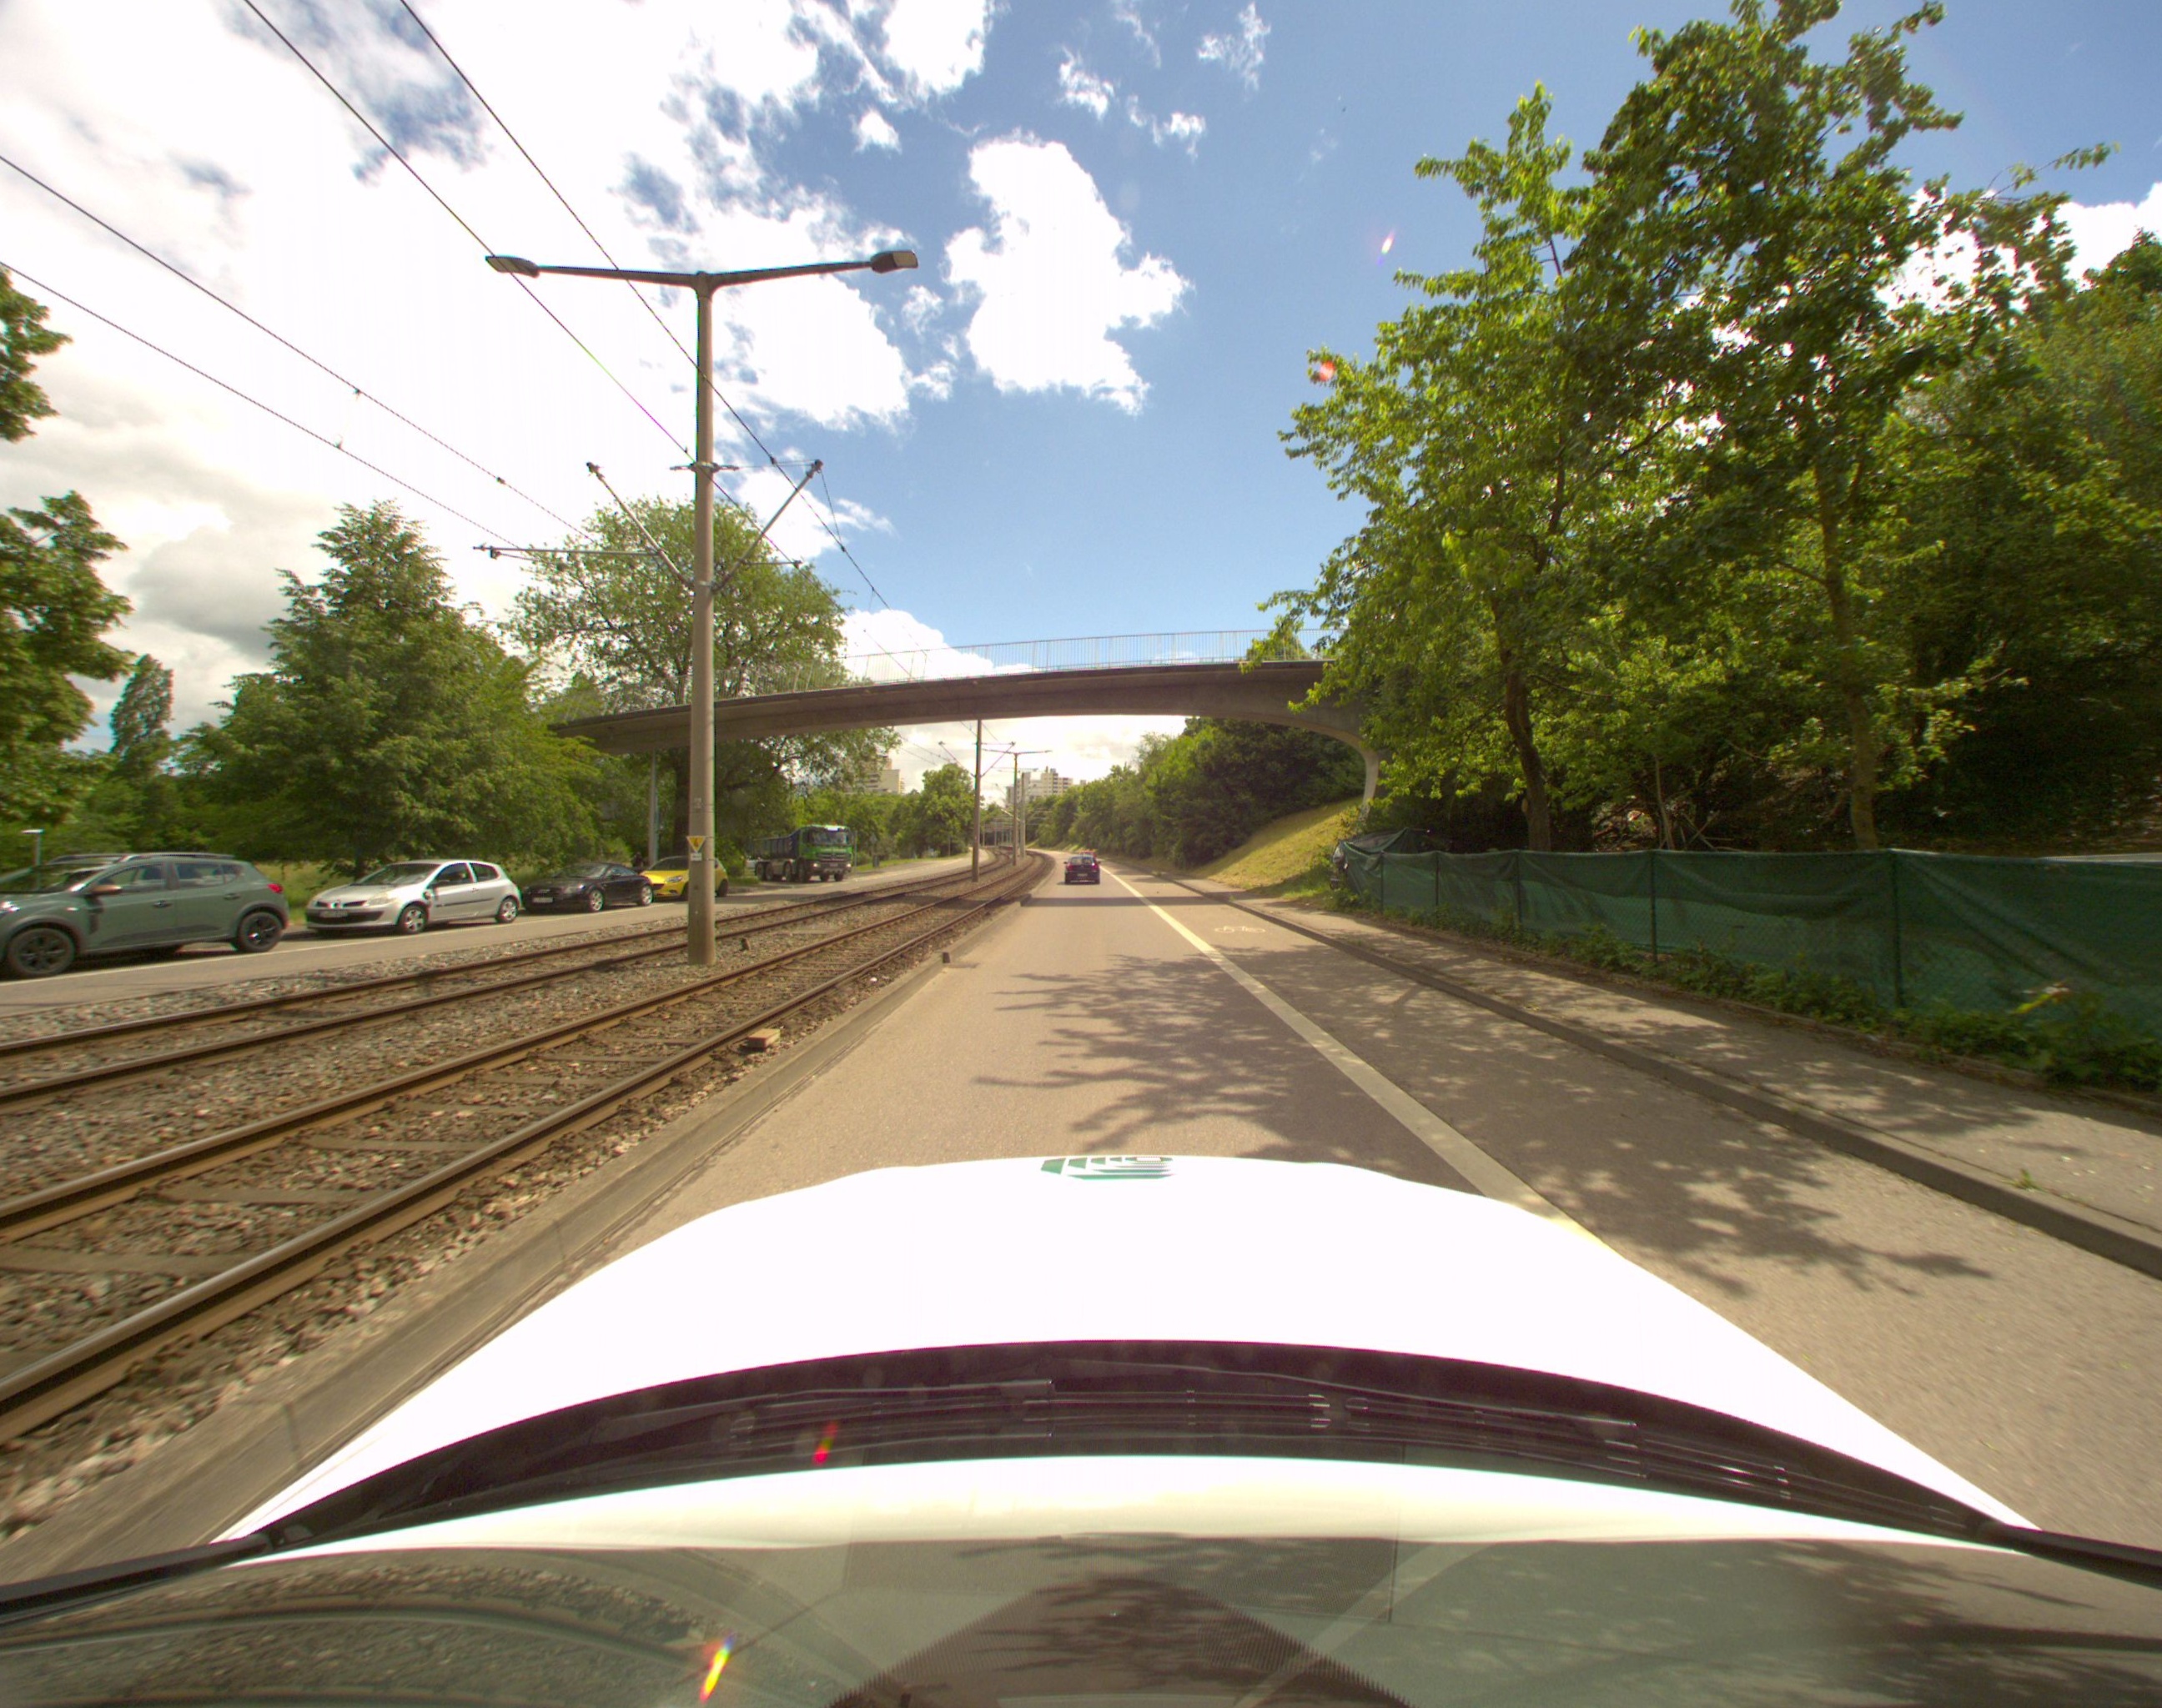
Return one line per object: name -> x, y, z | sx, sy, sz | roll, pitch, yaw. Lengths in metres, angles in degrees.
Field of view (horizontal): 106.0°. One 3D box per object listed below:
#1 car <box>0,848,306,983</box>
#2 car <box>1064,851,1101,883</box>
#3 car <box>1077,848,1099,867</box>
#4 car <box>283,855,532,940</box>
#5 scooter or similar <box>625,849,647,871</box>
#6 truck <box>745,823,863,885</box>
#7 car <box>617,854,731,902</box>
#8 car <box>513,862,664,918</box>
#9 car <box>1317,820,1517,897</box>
car -> -13.754, 0.757, 11.452 | 1.636, 1.622, 4.127 | -1, 0, 2
car -> 0.070, 0.640, 40.808 | 1.703, 1.460, 3.959 | 2, 0, 0
car -> 0.604, 0.320, 70.440 | 1.617, 1.443, 3.424 | 2, -1, 4
car -> -13.622, 0.827, 16.873 | 1.588, 1.494, 4.191 | 2, -1, 0
scooter or similar -> -23.682, 0.333, 43.352 | 0.707, 1.147, 0.788 | 2, -2, 3
truck -> -16.438, -0.034, 47.867 | 2.897, 3.320, 8.920 | 3, -2, -44
car -> -13.498, 0.812, 27.307 | 1.682, 1.450, 3.900 | 2, -2, 2
car -> -13.427, 0.936, 22.519 | 1.505, 1.360, 4.130 | 2, -1, 2
car -> 8.931, 0.153, 22.012 | 4.505, 1.671, 2.002 | -4, -2, 3
